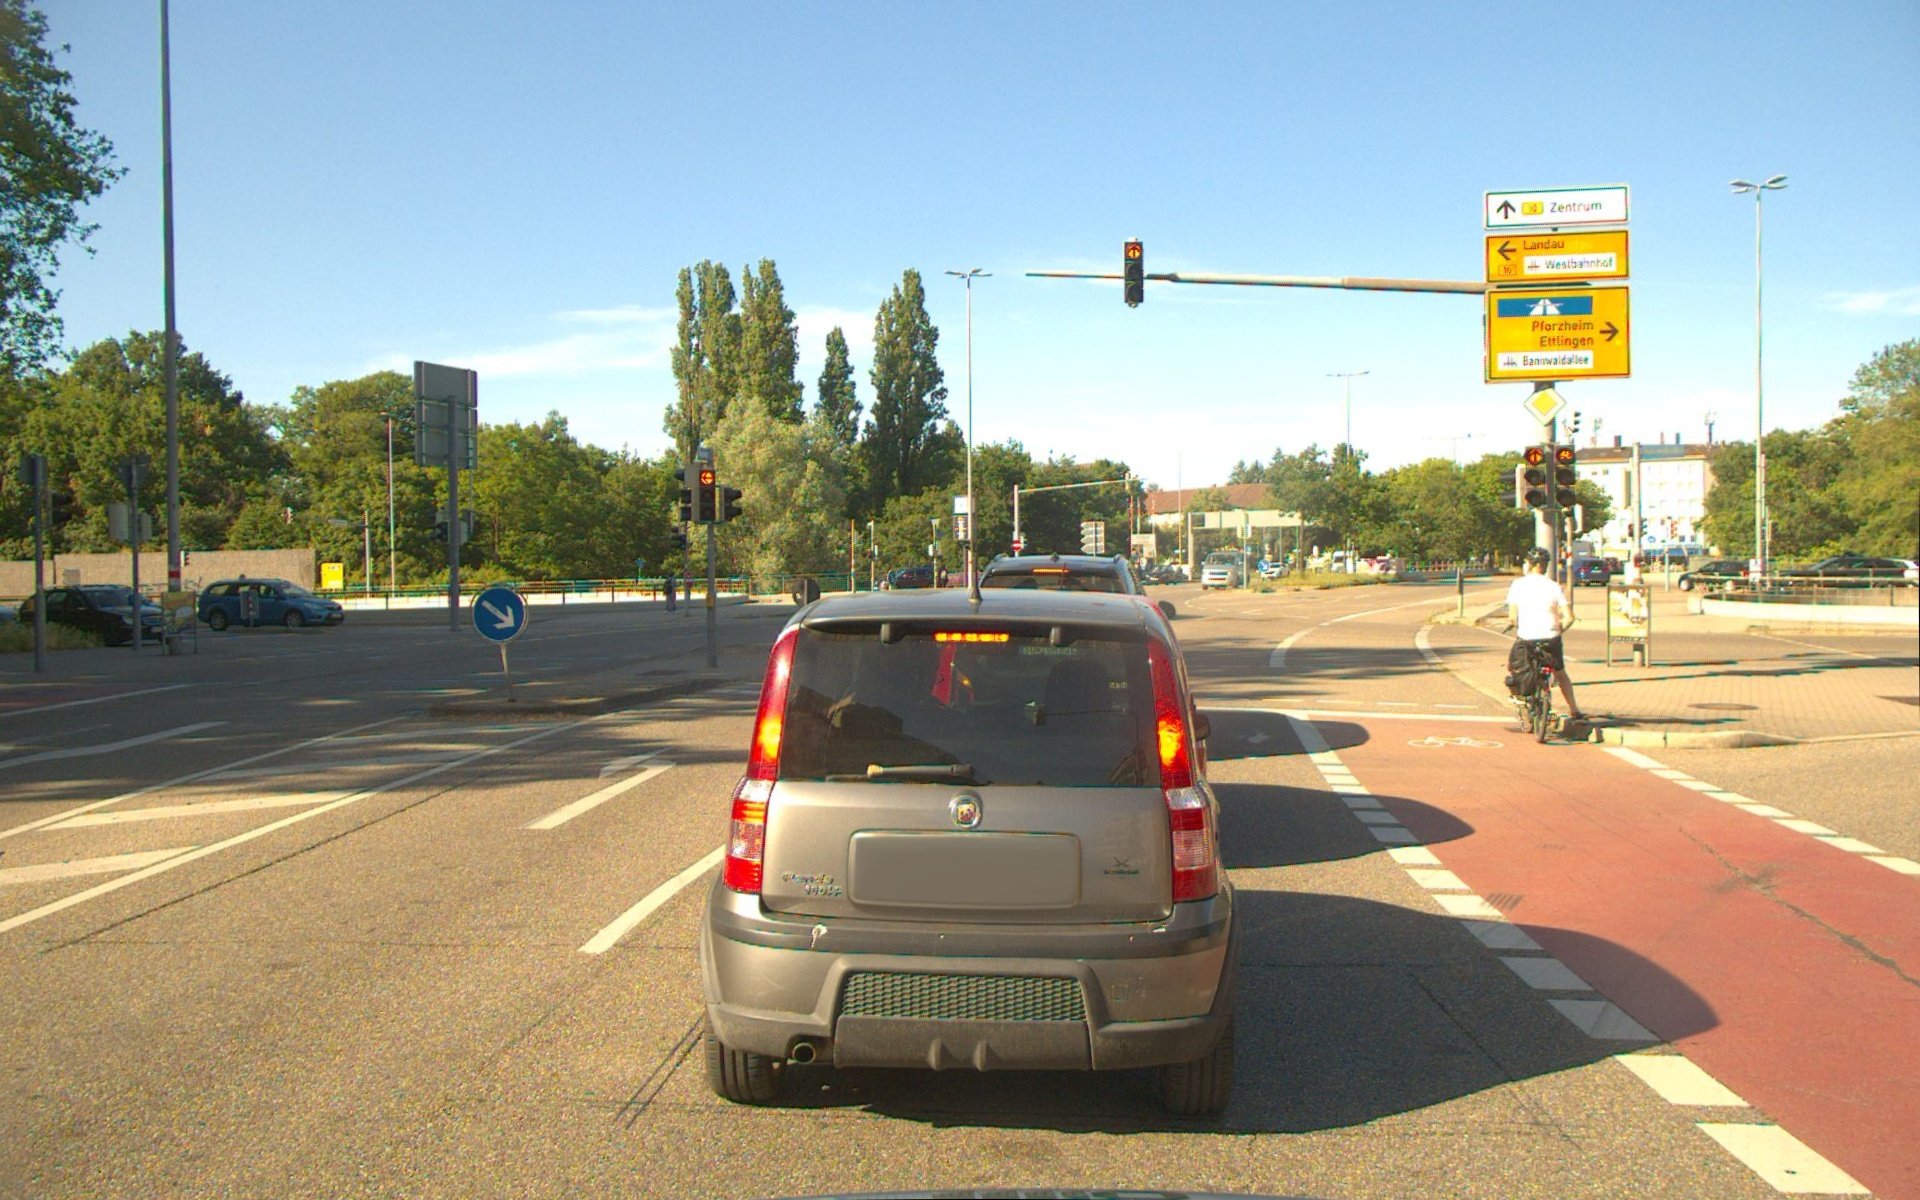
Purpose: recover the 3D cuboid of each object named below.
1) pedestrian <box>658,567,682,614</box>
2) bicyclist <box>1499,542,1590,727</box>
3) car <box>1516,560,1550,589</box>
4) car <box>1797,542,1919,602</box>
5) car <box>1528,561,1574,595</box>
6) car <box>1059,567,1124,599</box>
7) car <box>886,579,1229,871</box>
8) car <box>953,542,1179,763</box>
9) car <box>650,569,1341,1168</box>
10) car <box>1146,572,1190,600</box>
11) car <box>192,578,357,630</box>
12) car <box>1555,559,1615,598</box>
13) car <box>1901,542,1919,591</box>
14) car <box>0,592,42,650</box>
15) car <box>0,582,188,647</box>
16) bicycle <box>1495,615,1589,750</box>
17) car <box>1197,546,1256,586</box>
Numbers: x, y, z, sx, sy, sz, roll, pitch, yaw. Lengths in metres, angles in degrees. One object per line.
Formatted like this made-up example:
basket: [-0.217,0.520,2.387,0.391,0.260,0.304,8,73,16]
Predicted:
pedestrian: [-10.431,-0.324,59.470,0.673,1.565,1.365,0,-4,-3]
bicyclist: [5.713,0.309,16.146,0.783,1.734,1.085,1,1,21]
car: [38.724,-1.695,111.778,1.953,1.781,3.999,0,-2,22]
car: [33.201,-0.998,60.943,3.922,2.049,1.991,-1,-2,38]
car: [34.358,-1.260,96.242,1.951,1.781,4.003,0,-1,12]
car: [8.716,-1.108,109.290,1.980,1.887,4.864,-1,-2,38]
car: [0.585,0.642,10.723,1.782,1.505,4.001,1,0,2]
car: [1.173,0.394,16.111,1.829,1.821,4.418,1,1,8]
car: [0.184,0.672,6.360,1.782,1.515,4.002,2,1,3]
car: [15.411,-1.041,122.230,1.972,1.887,4.884,0,-2,23]
car: [-20.682,0.110,49.967,4.342,1.464,1.828,-1,1,14]
car: [33.099,-1.102,87.721,1.970,1.887,4.890,0,-1,9]
car: [39.730,-1.356,65.192,2.002,1.887,4.194,2,-2,-42]
car: [-26.410,0.564,43.270,4.345,1.464,1.826,-1,1,22]
car: [-21.015,0.355,39.923,4.345,1.464,1.826,-1,1,22]
bicycle: [5.678,0.750,16.071,0.783,1.130,2.402,1,1,21]
car: [14.039,-1.760,86.913,1.972,1.887,4.884,0,-2,23]
